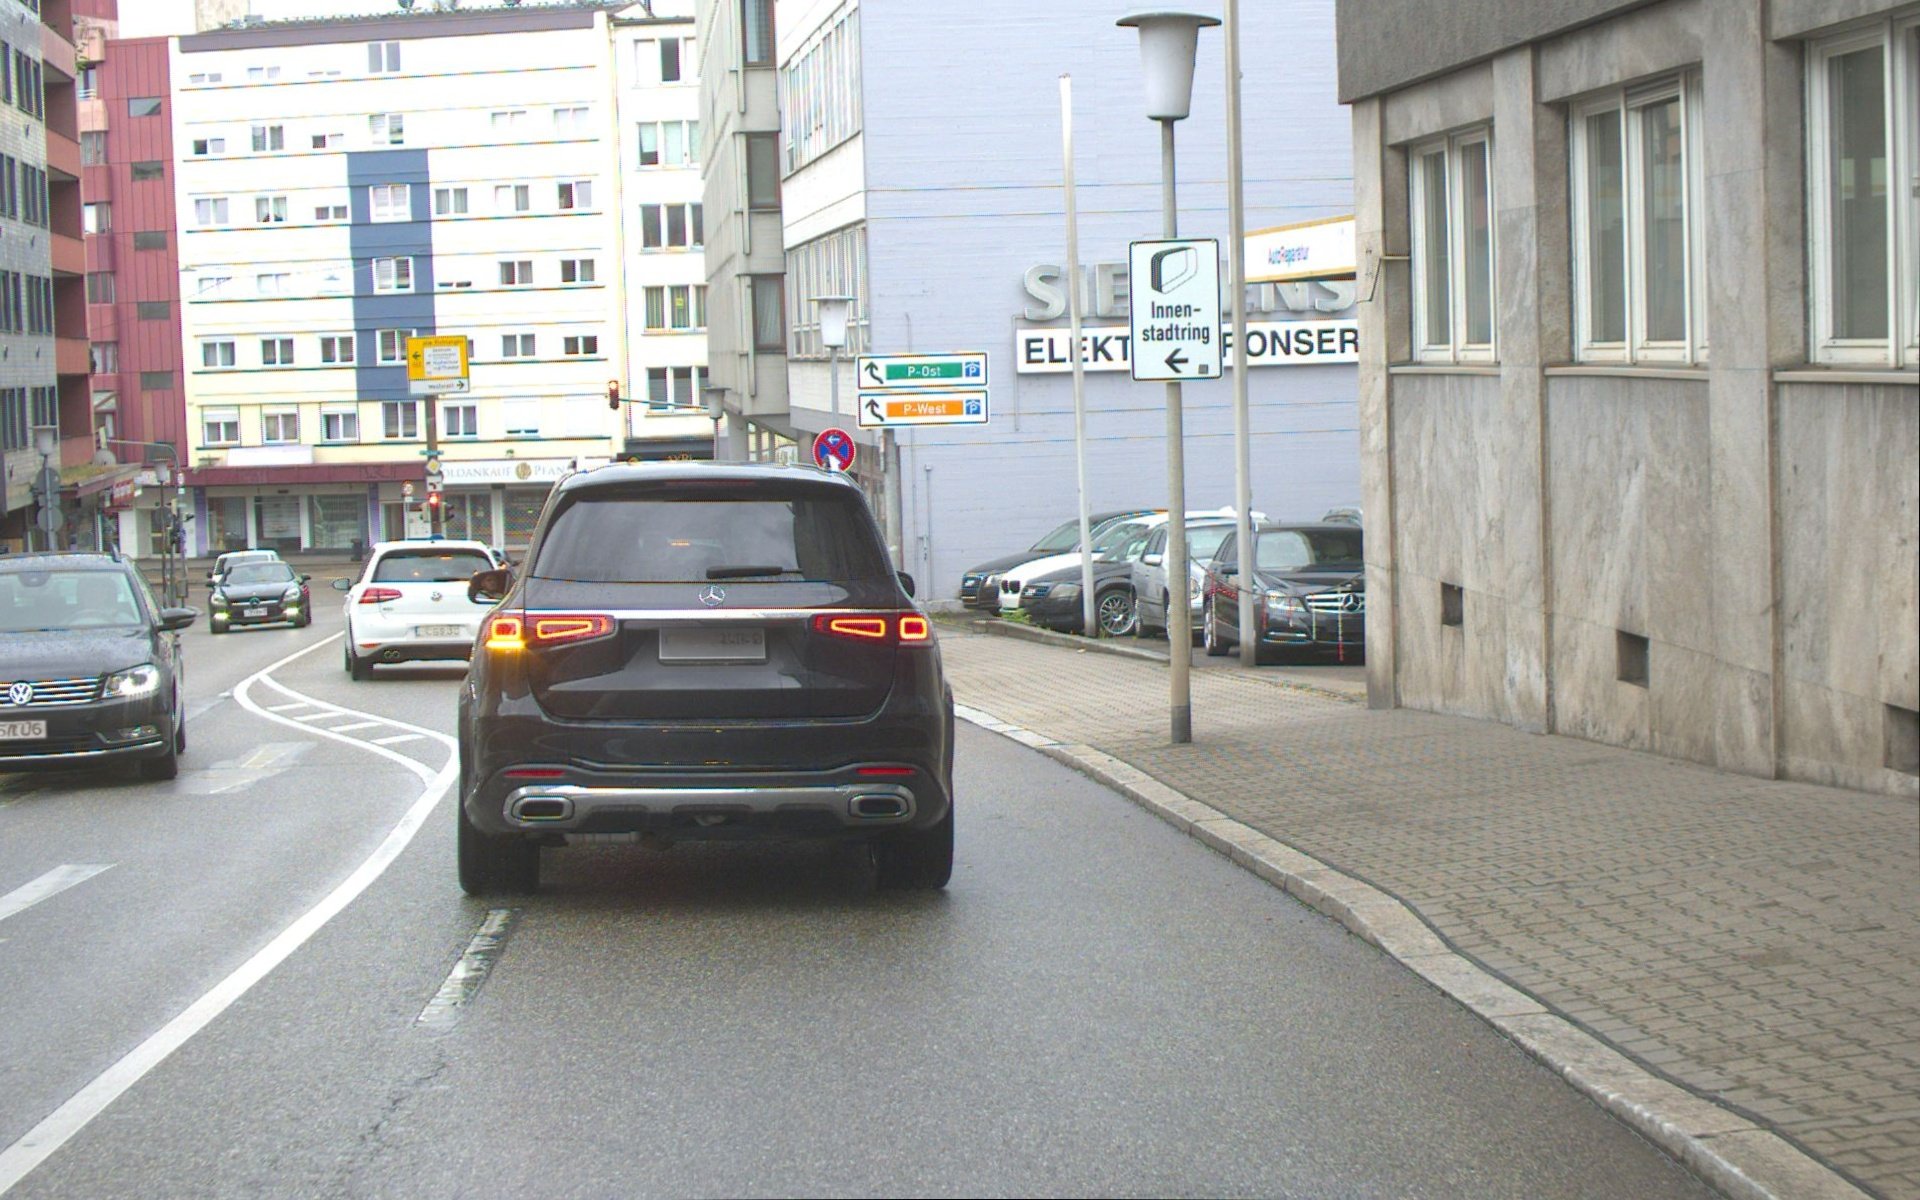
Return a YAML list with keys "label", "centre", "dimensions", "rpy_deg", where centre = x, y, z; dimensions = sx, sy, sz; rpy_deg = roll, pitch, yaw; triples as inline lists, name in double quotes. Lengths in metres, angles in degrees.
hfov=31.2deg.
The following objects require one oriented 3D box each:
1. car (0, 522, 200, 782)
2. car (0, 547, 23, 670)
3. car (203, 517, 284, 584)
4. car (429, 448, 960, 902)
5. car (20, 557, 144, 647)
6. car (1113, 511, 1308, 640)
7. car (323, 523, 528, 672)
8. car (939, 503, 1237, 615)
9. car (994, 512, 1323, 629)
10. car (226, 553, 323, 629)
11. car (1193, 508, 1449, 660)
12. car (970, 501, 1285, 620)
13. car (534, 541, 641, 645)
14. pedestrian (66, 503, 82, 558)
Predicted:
- label: "car"
  centre: [-6.055, 0.318, 22.686]
  dimensions: [1.723, 1.510, 4.370]
  rpy_deg: [-3, 1, -9]
- label: "car"
  centre: [-13.353, 0.159, 44.941]
  dimensions: [1.714, 1.581, 4.145]
  rpy_deg: [-4, 1, -11]
- label: "car"
  centre: [-20.399, -1.425, 98.050]
  dimensions: [1.869, 1.747, 4.400]
  rpy_deg: [-4, 2, -8]
- label: "car"
  centre: [-1.222, 0.246, 15.591]
  dimensions: [2.020, 1.733, 4.748]
  rpy_deg: [0, 1, -5]
- label: "car"
  centre: [-16.487, 0.022, 64.729]
  dimensions: [1.744, 1.533, 4.644]
  rpy_deg: [-4, 1, -9]
- label: "car"
  centre: [2.953, -0.329, 41.264]
  dimensions: [1.565, 1.472, 4.071]
  rpy_deg: [0, 1, -7]
- label: "car"
  centre: [-5.876, -0.068, 37.423]
  dimensions: [1.829, 1.456, 4.380]
  rpy_deg: [-3, 2, -13]
- label: "car"
  centre: [1.876, -0.585, 50.468]
  dimensions: [3.986, 1.592, 1.799]
  rpy_deg: [0, 0, -26]
- label: "car"
  centre: [2.619, -0.387, 45.384]
  dimensions: [3.986, 1.489, 1.733]
  rpy_deg: [0, 0, -26]
- label: "car"
  centre: [-13.151, -0.193, 65.857]
  dimensions: [1.714, 1.313, 4.145]
  rpy_deg: [-2, 2, -12]
- label: "car"
  centre: [3.675, -0.211, 35.739]
  dimensions: [1.796, 1.472, 4.486]
  rpy_deg: [0, 1, -5]
- label: "car"
  centre: [2.334, -0.538, 47.887]
  dimensions: [3.986, 1.592, 1.799]
  rpy_deg: [0, 0, -26]
- label: "car"
  centre: [-5.962, -0.134, 54.822]
  dimensions: [1.522, 1.543, 3.108]
  rpy_deg: [-1, 2, -9]
- label: "pedestrian"
  centre: [-24.375, -1.912, 94.591]
  dimensions: [0.318, 1.469, 0.339]
  rpy_deg: [-1, 5, -2]
